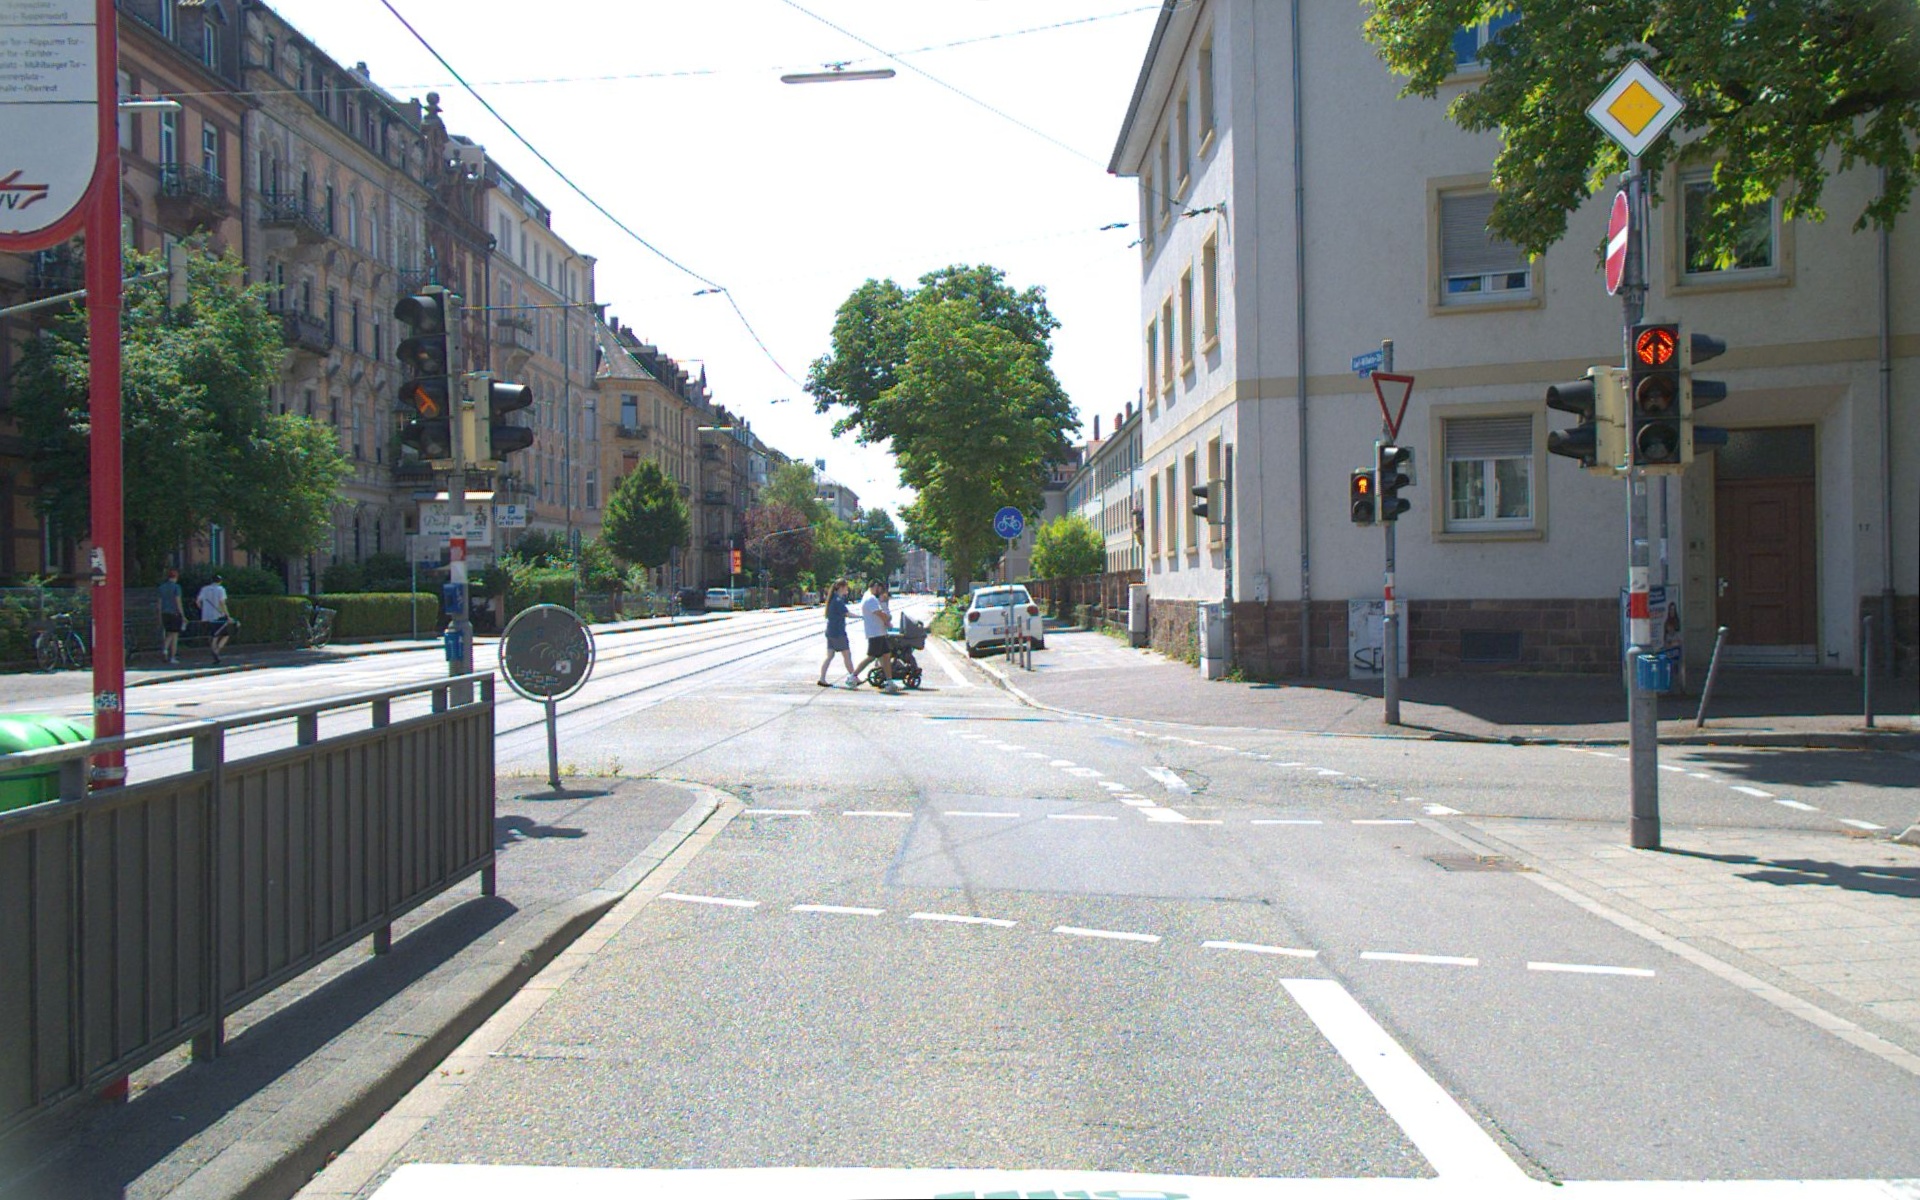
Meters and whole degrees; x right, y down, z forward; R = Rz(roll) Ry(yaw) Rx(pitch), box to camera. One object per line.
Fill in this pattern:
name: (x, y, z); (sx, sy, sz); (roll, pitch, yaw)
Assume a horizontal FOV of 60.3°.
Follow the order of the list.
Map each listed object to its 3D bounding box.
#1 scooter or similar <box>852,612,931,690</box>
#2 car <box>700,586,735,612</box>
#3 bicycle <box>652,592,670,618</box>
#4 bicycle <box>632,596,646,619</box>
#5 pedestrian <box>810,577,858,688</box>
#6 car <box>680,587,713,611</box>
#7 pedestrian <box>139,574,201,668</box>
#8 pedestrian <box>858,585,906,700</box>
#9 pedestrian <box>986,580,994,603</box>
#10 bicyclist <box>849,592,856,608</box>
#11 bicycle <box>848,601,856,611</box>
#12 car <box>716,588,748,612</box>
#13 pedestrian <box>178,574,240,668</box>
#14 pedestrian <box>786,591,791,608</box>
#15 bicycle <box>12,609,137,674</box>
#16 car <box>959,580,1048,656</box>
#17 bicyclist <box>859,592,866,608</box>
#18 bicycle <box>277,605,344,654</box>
scooter or similar: (-1.063, 0.779, 25.569); (1.178, 1.175, 0.557); (1, -1, -7)
car: (-16.870, -0.049, 115.317); (1.880, 1.745, 3.999); (1, 0, -1)
bicycle: (-15.271, 0.254, 84.439); (0.664, 1.301, 1.917); (-1, 0, -4)
bicycle: (-15.494, 0.339, 79.792); (0.665, 1.083, 1.913); (-1, 0, -12)
pedestrian: (-1.926, 0.492, 25.340); (0.661, 1.674, 0.558); (1, -1, 0)
car: (-19.670, -0.062, 123.612); (1.880, 1.745, 3.999); (1, 0, -1)
pedestrian: (-15.922, 0.406, 33.351); (0.799, 1.854, 0.874); (1, 1, 2)
pedestrian: (-1.157, 0.626, 24.568); (0.661, 1.674, 0.558); (1, -1, 0)
pedestrian: (2.088, -0.569, 114.979); (0.511, 1.590, 0.573); (-1, 0, -1)
bicyclist: (-12.374, 0.020, 189.828); (0.712, 1.850, 1.079); (1, 0, 1)
bicycle: (-12.386, 0.730, 189.757); (0.712, 1.142, 2.085); (1, 0, 1)
car: (-17.038, -0.017, 123.578); (1.880, 1.745, 3.999); (1, 0, -1)
pedestrian: (-15.153, 0.414, 33.392); (0.799, 1.854, 0.874); (1, 1, 2)
pedestrian: (-14.795, -0.061, 142.684); (0.398, 1.486, 0.436); (-1, 0, -1)
bicycle: (-16.709, 0.761, 31.309); (0.918, 1.156, 2.773); (1, 0, -2)
car: (0.932, 0.399, 37.342); (1.778, 1.542, 3.999); (-3, 0, -1)
bicyclist: (-11.165, 0.022, 189.636); (0.712, 1.850, 1.079); (1, 0, 1)
bicycle: (-15.888, 0.701, 40.518); (0.920, 1.156, 2.767); (1, 0, -9)
